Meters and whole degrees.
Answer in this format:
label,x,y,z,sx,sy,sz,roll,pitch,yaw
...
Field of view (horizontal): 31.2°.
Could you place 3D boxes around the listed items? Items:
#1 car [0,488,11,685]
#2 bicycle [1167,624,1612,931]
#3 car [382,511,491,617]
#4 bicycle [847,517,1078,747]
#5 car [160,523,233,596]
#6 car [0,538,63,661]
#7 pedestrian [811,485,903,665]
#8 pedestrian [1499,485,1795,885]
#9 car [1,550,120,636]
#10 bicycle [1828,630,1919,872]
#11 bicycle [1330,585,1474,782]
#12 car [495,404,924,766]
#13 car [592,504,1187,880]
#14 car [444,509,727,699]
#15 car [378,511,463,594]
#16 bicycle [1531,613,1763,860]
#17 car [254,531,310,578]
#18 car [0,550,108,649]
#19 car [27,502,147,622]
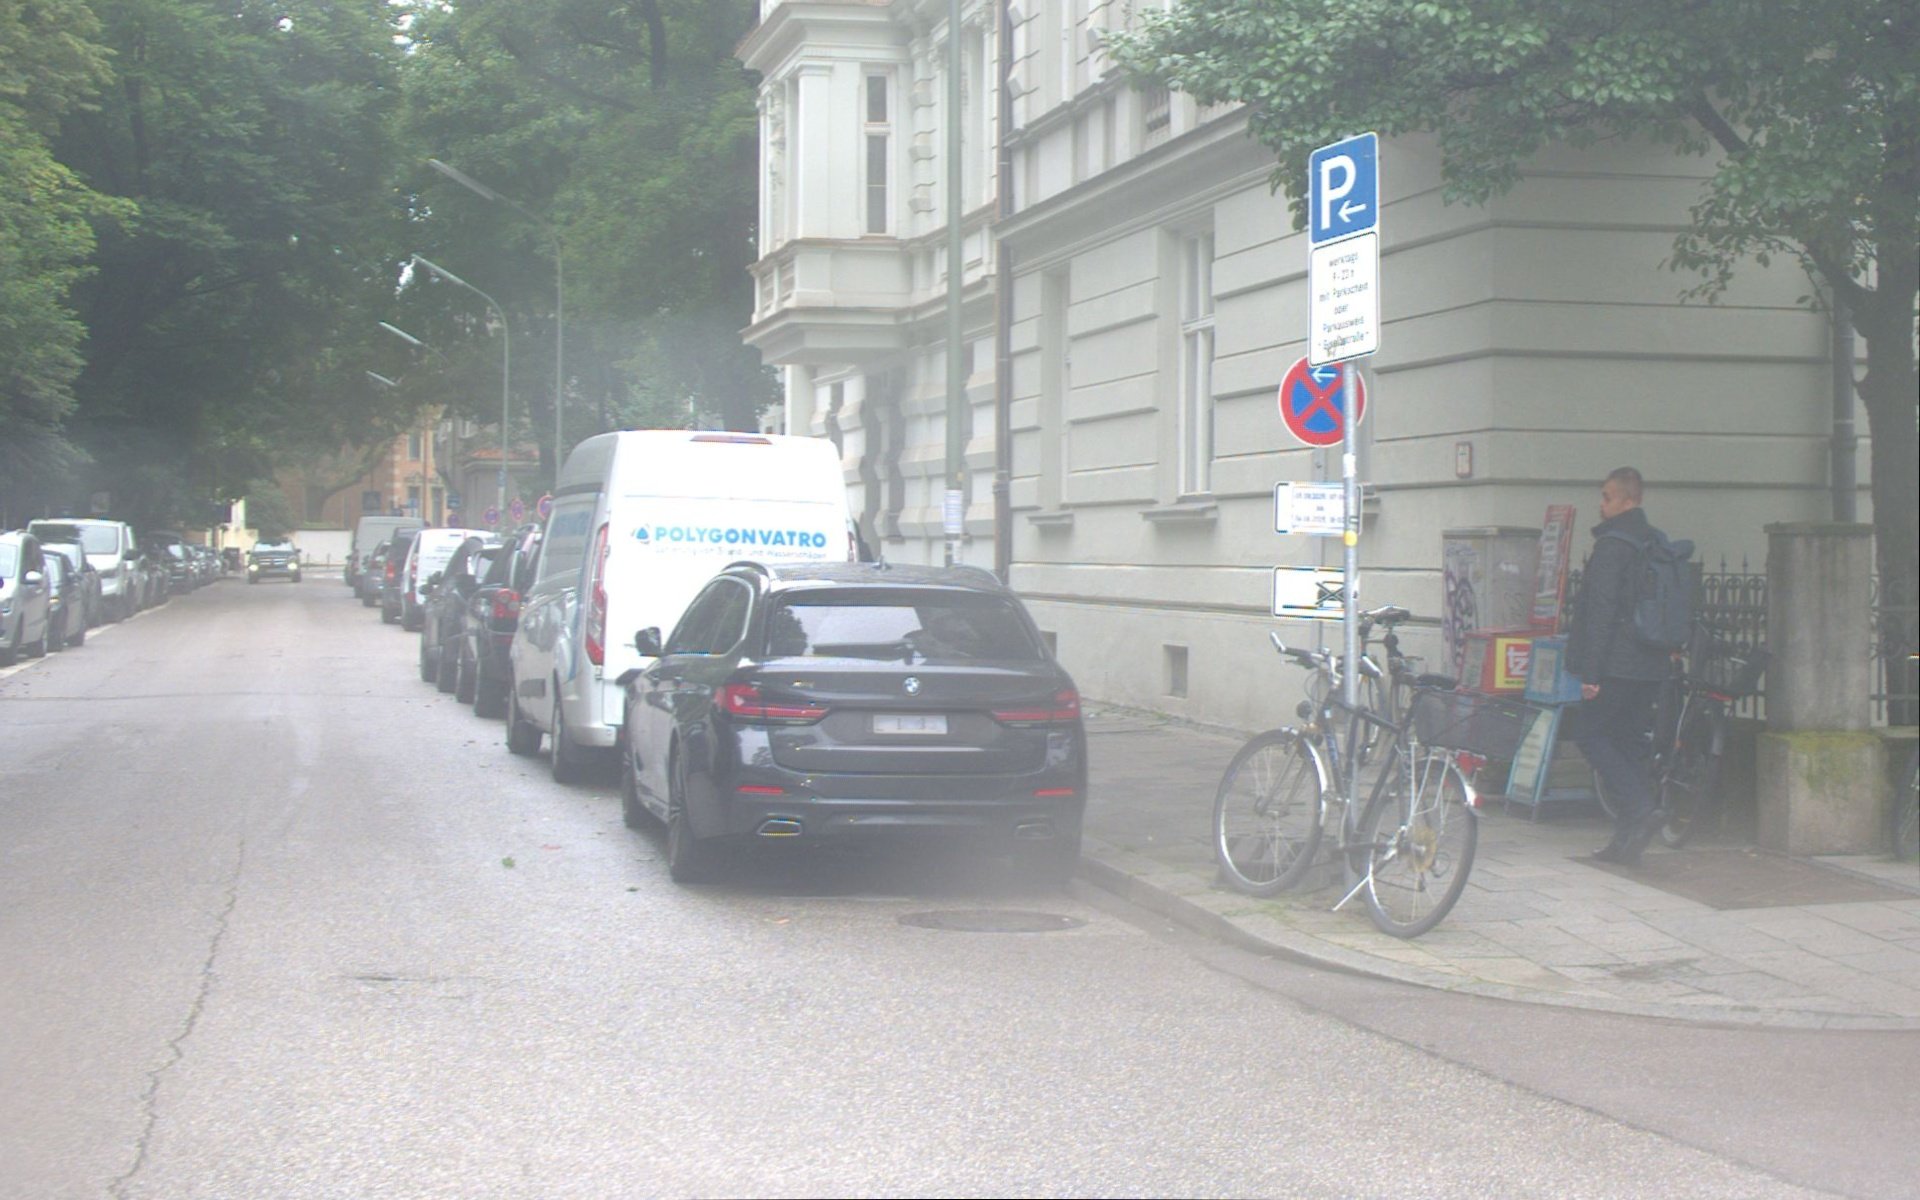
label,x,y,z,sx,sy,sz,roll,pitch,yaw
car,-10.562,-0.142,33.826,2.183,1.950,5.168,1,1,-14
bicycle,1.668,0.662,13.791,0.654,1.024,2.202,-1,3,-27
car,-10.068,-0.720,65.983,1.993,1.968,4.001,-1,1,-9
bicycle,-0.007,0.186,23.572,0.707,1.510,2.039,0,1,-28
car,-23.493,-1.261,105.656,2.047,2.147,4.315,1,1,-14
car,-12.947,-0.056,44.993,2.069,1.514,4.238,1,1,-11
pedestrian,-1.065,-0.262,35.364,0.859,1.829,0.667,0,1,-10
pedestrian,3.013,0.348,15.144,0.857,1.683,0.976,-1,1,-23
car,-14.903,-0.137,57.097,1.819,1.325,4.101,1,1,-14
bicycle,4.909,0.655,15.359,1.922,1.024,0.557,0,2,-8
bicycle,2.535,0.459,19.859,0.546,1.056,1.751,0,1,-2
car,-1.857,-0.135,23.711,2.203,2.200,4.857,-1,1,-13
car,-0.526,0.350,16.880,2.272,1.541,4.588,-1,1,-9
car,-3.602,-0.003,32.388,2.137,1.624,4.317,-1,1,-13
car,-13.330,-1.195,84.897,1.993,2.007,4.001,-1,1,-9
bicycle,3.241,0.617,16.376,0.429,1.024,1.891,0,2,-10
car,-26.553,-1.808,134.693,1.993,1.776,4.001,-1,1,-9
car,-13.671,-0.042,49.871,2.117,1.325,4.139,1,1,-8
car,-16.782,-0.753,66.247,2.001,2.179,4.697,1,1,-12
